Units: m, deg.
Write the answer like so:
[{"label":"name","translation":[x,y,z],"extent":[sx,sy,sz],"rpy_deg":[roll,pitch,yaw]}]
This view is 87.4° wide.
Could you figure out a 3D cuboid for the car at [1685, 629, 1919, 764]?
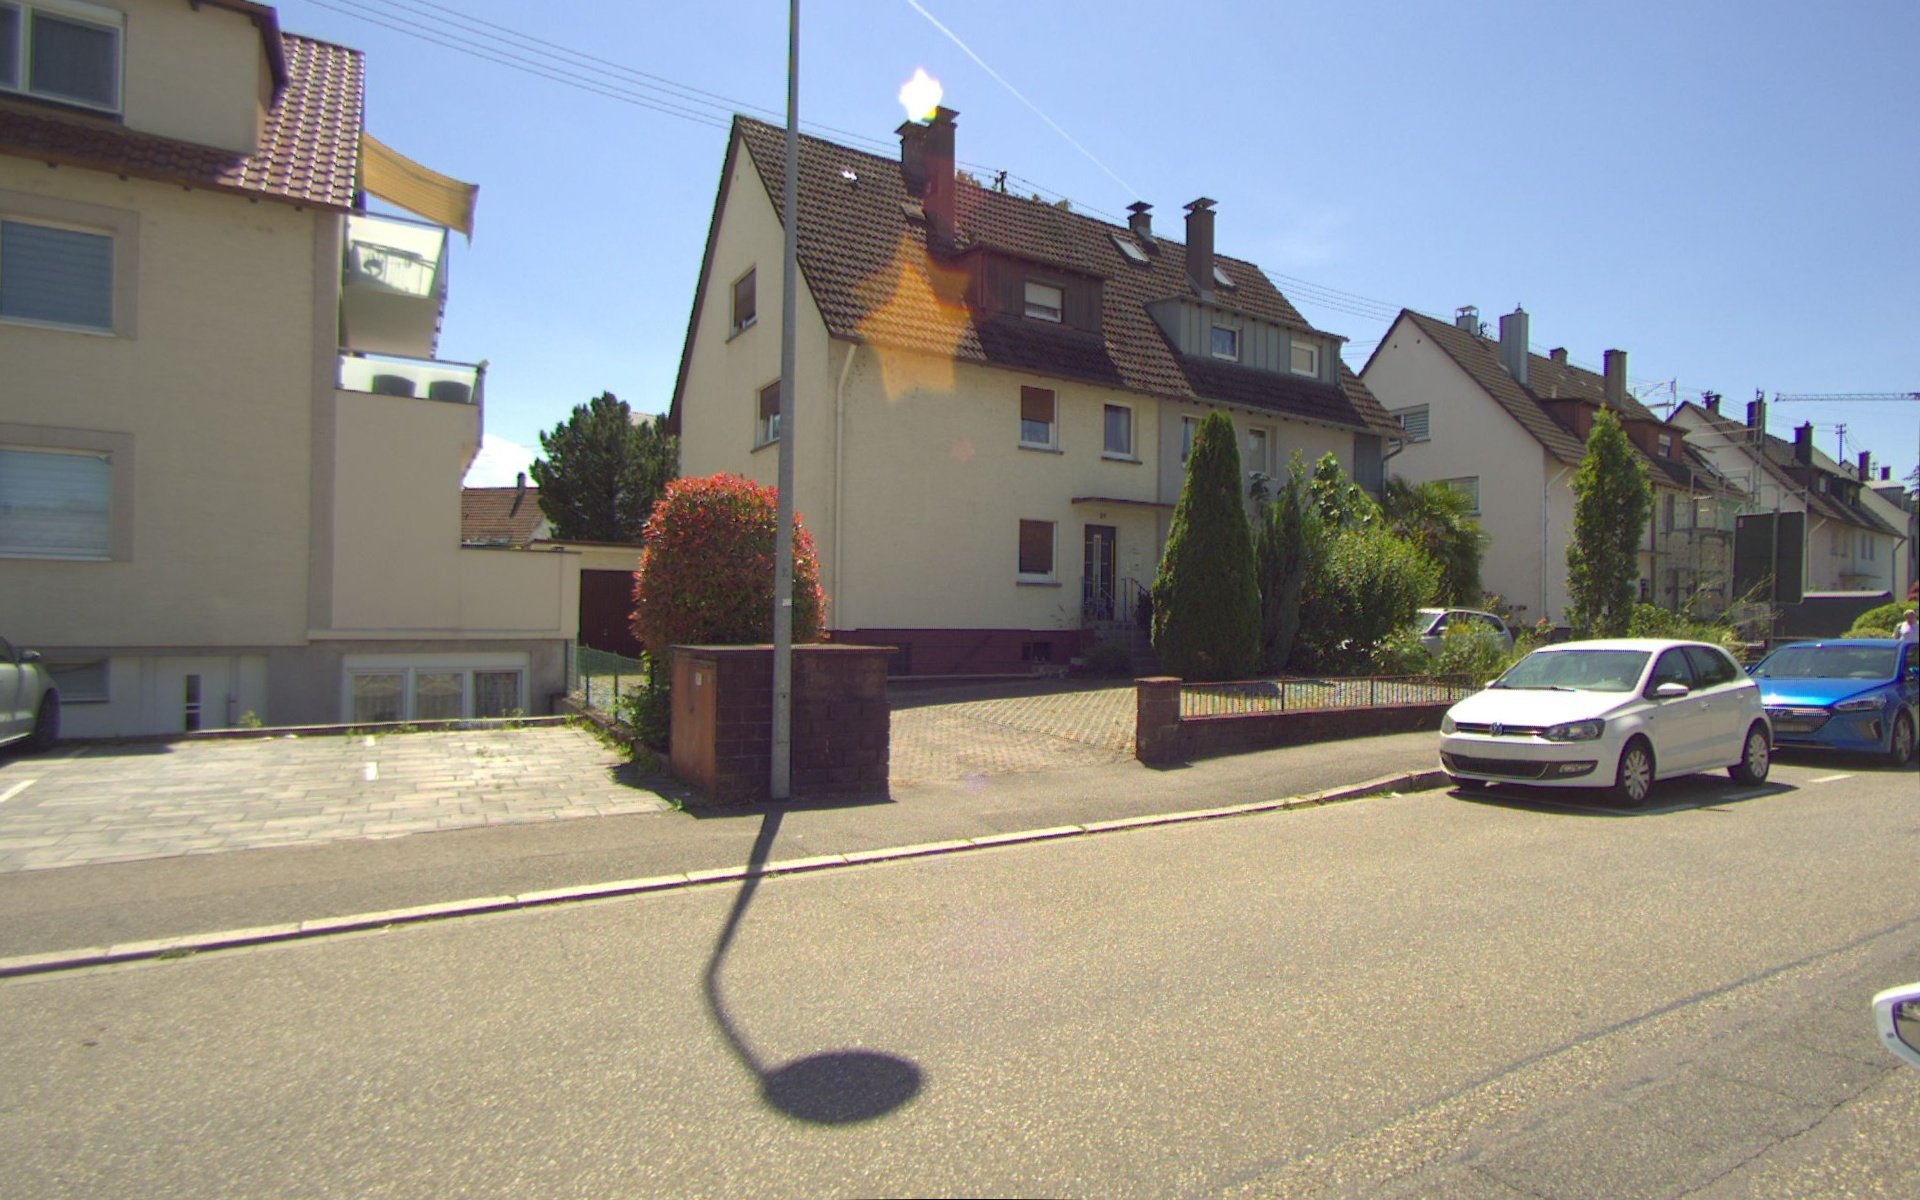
[{"label":"car","translation":[11.263,1.112,12.791],"extent":[4.313,1.457,1.760],"rpy_deg":[1,-3,-32]}]

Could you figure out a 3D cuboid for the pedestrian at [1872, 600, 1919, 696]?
[{"label":"pedestrian","translation":[19.740,0.989,20.925],"extent":[1.006,1.915,0.686],"rpy_deg":[1,3,-28]}]

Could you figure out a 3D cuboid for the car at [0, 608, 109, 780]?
[{"label":"car","translation":[-9.362,0.816,8.810],"extent":[1.822,1.460,4.453],"rpy_deg":[1,0,-26]}]

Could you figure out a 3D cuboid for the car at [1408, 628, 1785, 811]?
[{"label":"car","translation":[6.349,1.044,9.916],"extent":[3.896,1.442,1.570],"rpy_deg":[0,-3,-32]}]

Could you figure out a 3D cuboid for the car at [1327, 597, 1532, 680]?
[{"label":"car","translation":[9.789,0.816,20.870],"extent":[4.314,1.528,1.759],"rpy_deg":[3,-1,-32]}]

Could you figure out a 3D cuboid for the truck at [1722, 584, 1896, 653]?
[{"label":"truck","translation":[25.620,0.567,30.413],"extent":[1.530,1.963,3.745],"rpy_deg":[0,-1,-34]}]
